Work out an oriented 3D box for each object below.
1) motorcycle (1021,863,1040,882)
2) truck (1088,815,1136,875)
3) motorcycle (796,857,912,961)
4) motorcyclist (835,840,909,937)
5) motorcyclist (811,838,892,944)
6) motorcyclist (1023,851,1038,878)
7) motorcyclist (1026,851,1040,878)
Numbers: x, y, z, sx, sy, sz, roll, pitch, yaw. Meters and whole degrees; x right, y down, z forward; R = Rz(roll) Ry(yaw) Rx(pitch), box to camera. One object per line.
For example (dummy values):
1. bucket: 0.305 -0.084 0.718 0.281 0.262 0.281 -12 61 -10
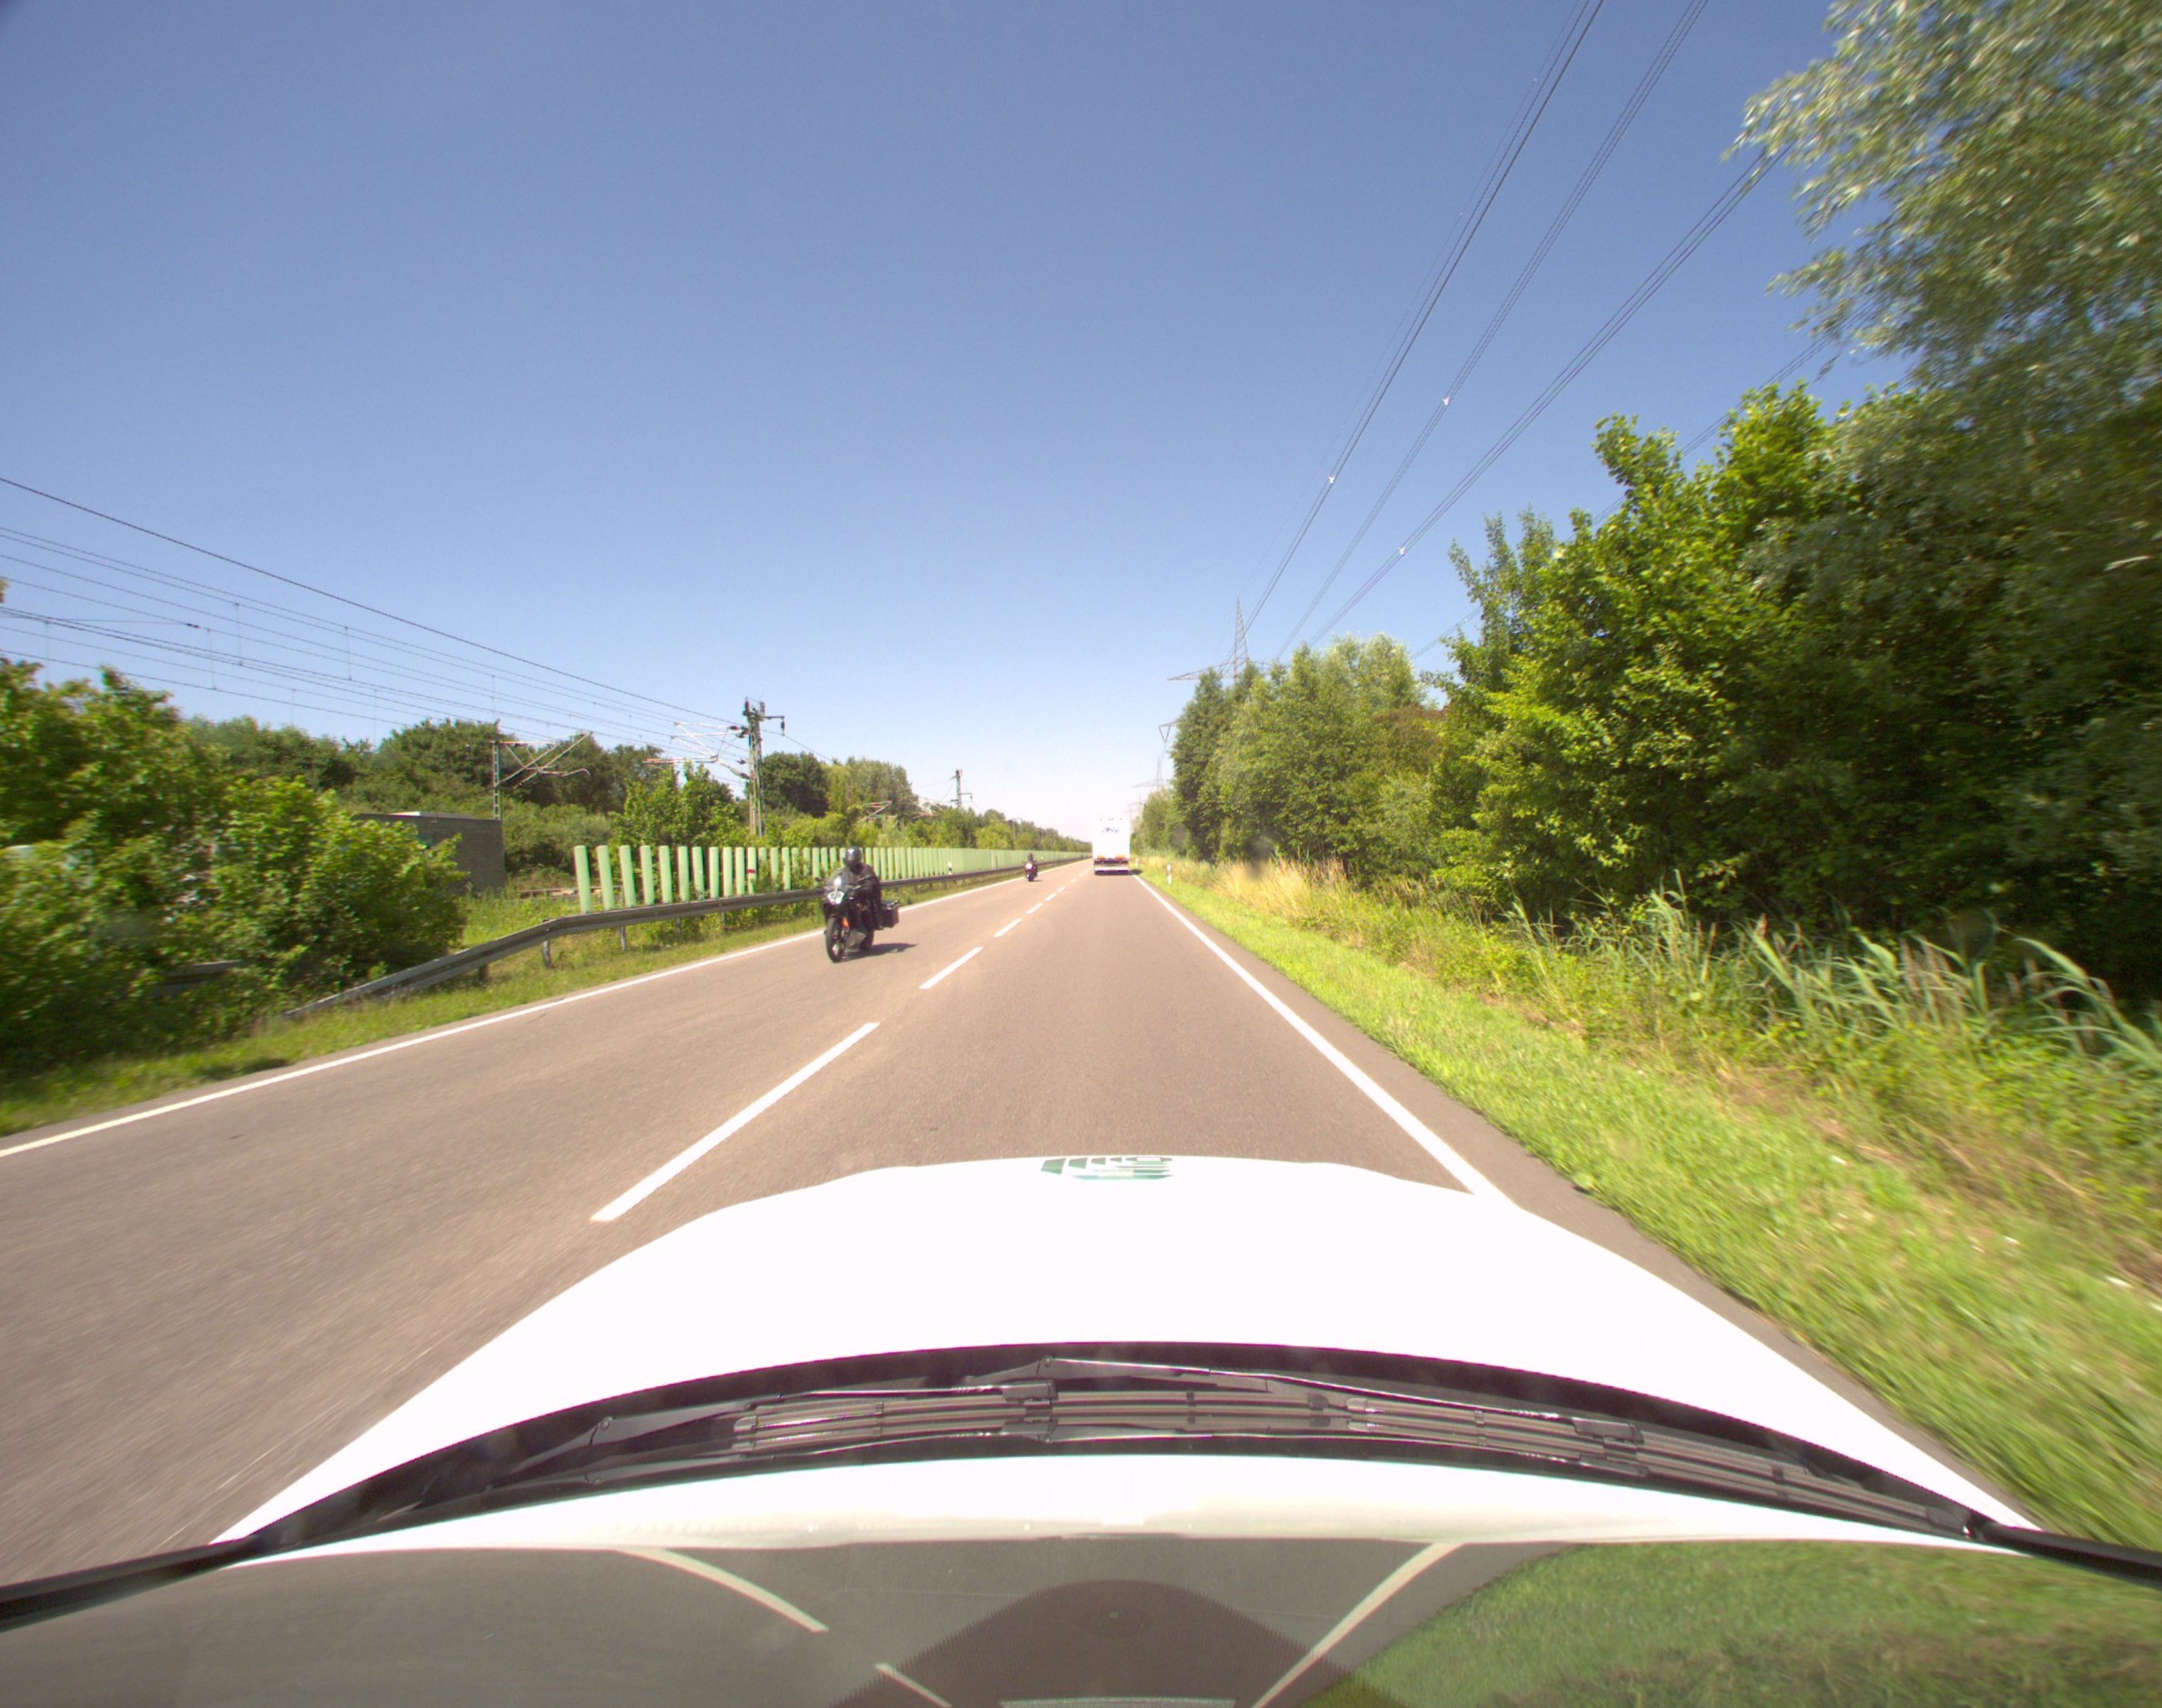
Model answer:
1. motorcycle: -2.902 1.064 47.293 0.751 1.014 2.723 0 0 3
2. truck: 2.288 -0.597 62.164 3.180 4.042 12.010 -2 0 2
3. motorcycle: -3.588 0.808 13.196 0.964 1.496 2.632 -2 -1 3
4. motorcyclist: -3.540 0.571 13.909 0.955 1.609 1.004 0 -1 3
5. motorcyclist: -3.608 0.563 12.892 0.955 1.609 1.004 0 -1 3
6. motorcyclist: -2.901 0.599 47.193 0.755 1.583 1.004 0 -1 3
7. motorcyclist: -2.846 0.610 48.143 0.746 1.583 0.864 0 -1 3
